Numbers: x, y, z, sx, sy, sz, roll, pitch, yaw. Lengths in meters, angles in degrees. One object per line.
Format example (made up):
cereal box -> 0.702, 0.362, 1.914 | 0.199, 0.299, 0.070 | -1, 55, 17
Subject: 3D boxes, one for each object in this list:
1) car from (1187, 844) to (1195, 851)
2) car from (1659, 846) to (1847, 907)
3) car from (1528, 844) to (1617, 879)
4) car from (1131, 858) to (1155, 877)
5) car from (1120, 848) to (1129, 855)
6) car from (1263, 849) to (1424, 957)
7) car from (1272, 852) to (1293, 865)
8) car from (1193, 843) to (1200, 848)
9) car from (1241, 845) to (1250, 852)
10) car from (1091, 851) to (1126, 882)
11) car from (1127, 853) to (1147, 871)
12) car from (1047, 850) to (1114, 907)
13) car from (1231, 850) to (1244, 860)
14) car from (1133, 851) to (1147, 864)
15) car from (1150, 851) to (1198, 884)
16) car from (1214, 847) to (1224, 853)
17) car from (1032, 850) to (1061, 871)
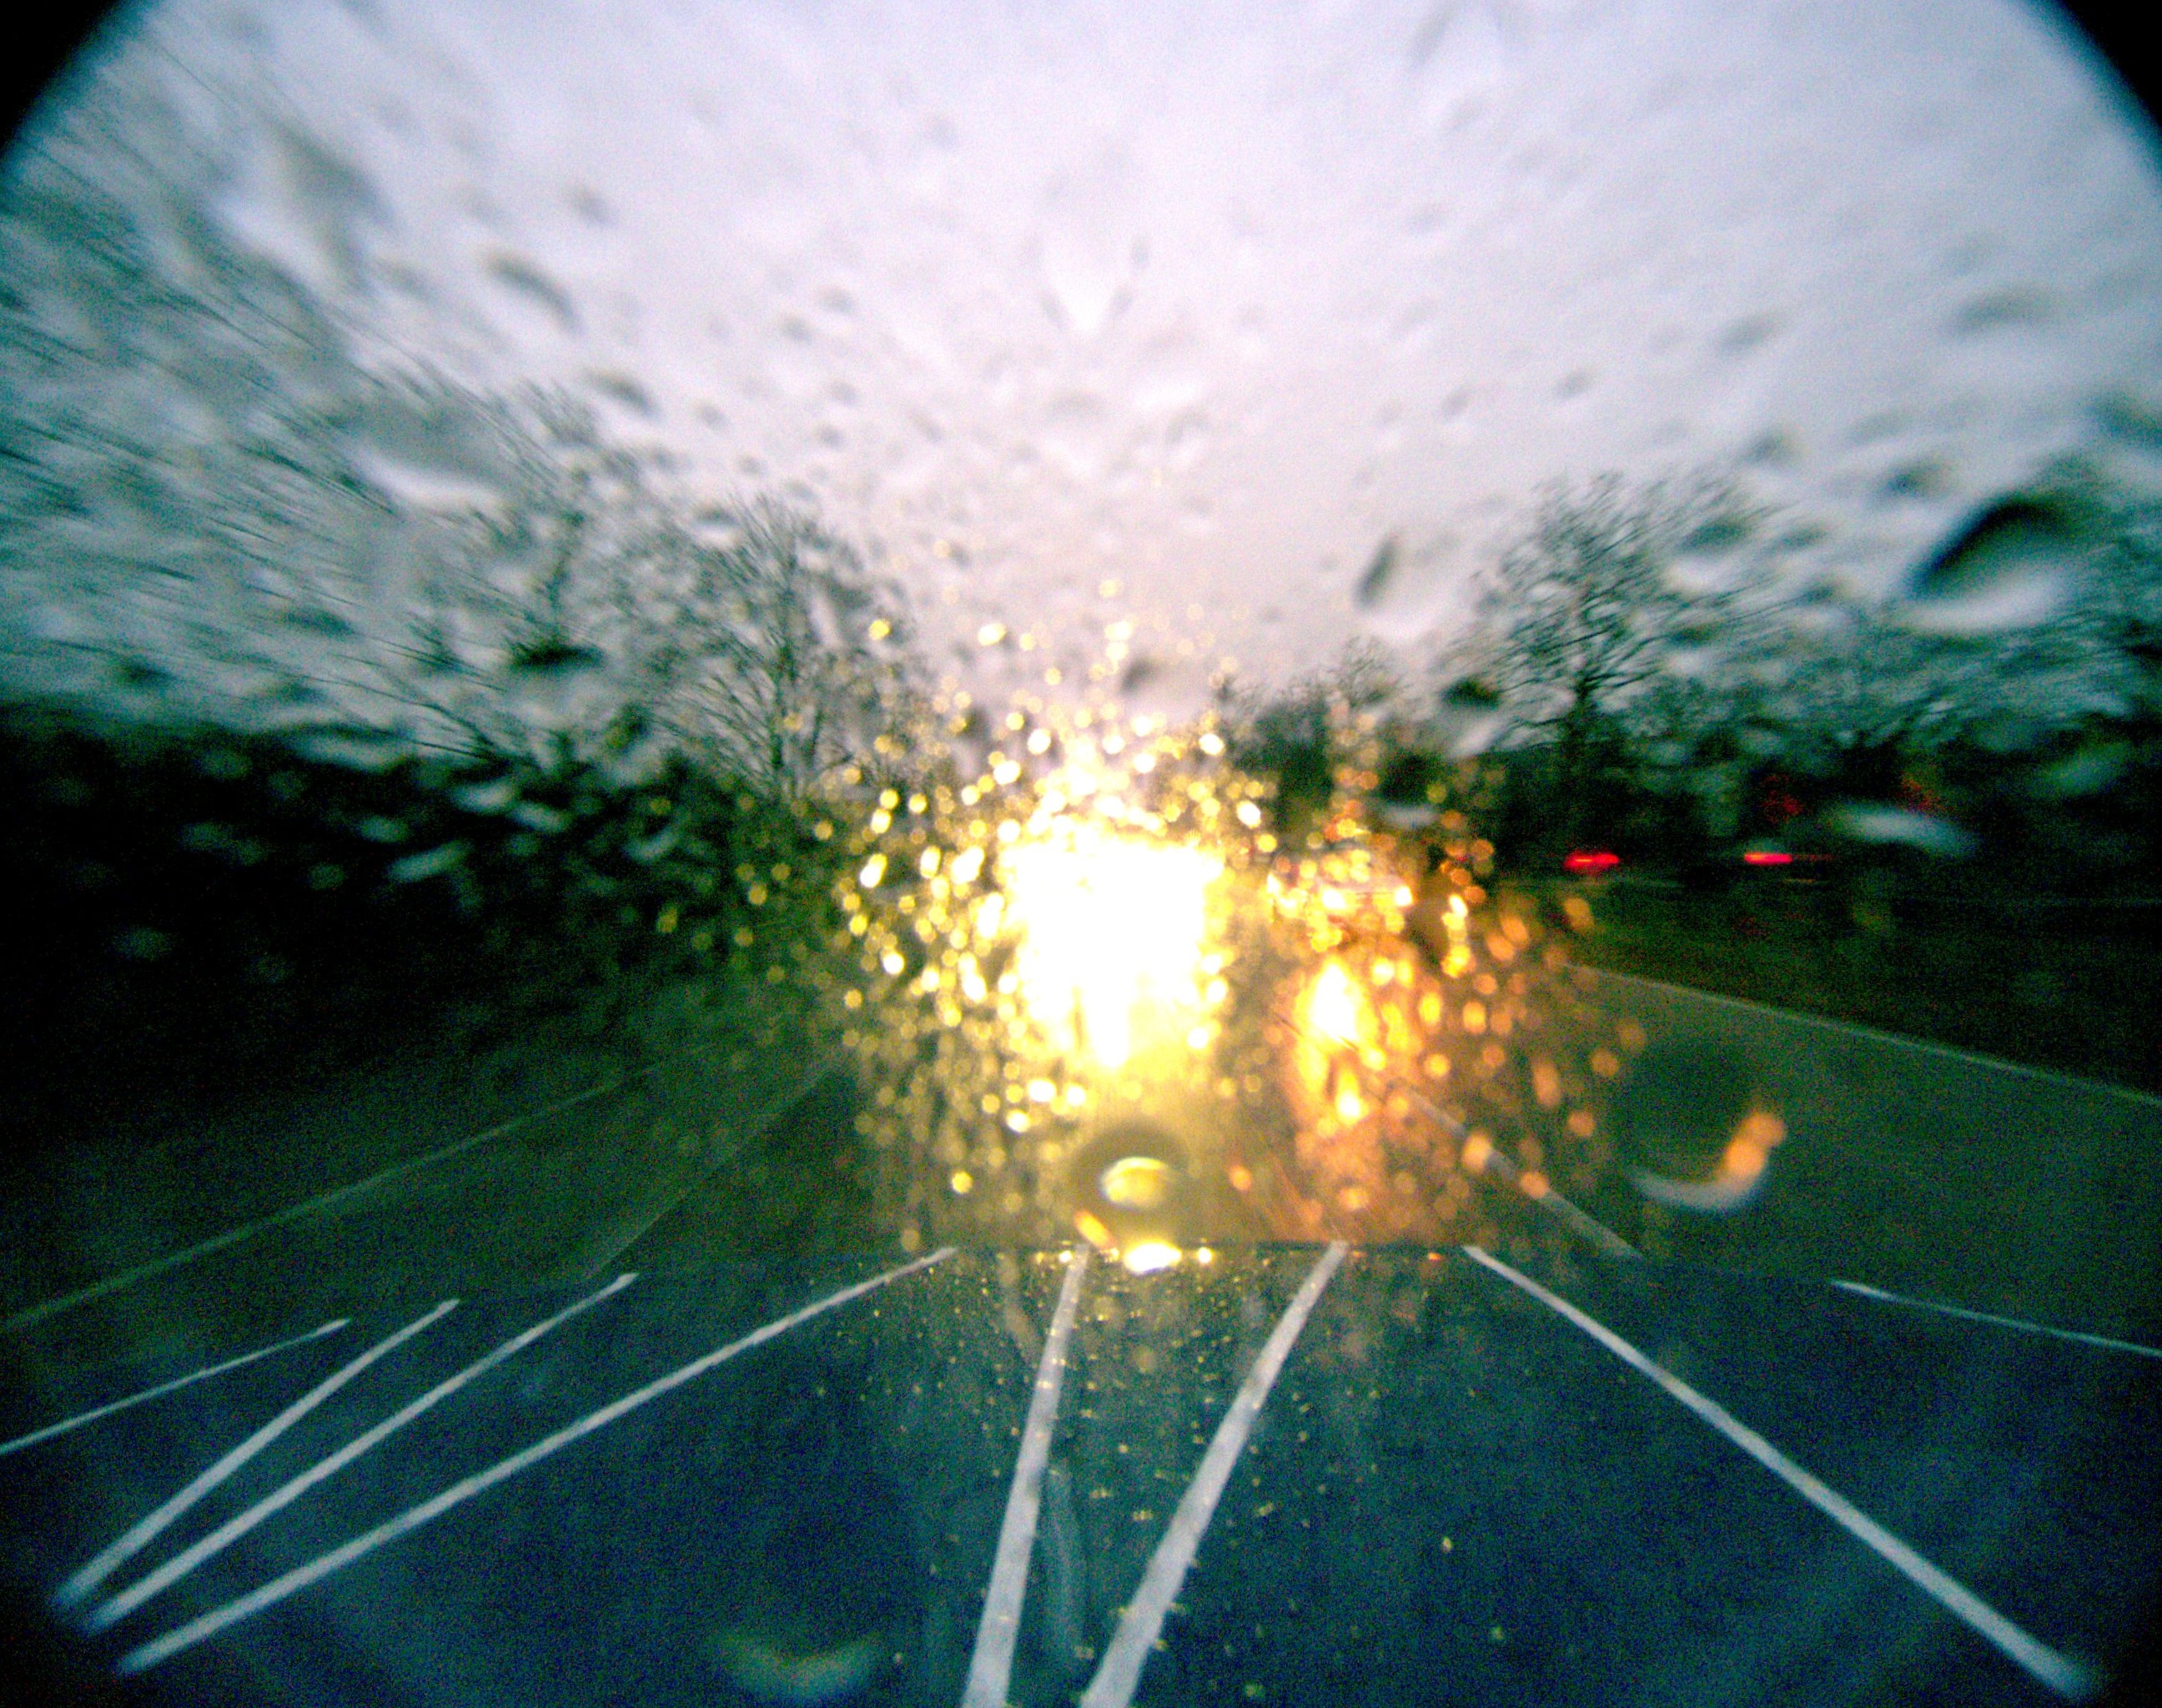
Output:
car -> 28.066, -1.656, 193.843 | 1.573, 1.495, 4.000 | -2, 1, 4
car -> 19.049, 0.564, 21.848 | 1.787, 1.524, 4.378 | -1, 1, 5
car -> 24.086, 0.341, 37.445 | 1.652, 1.557, 4.597 | -1, 1, 4
car -> 4.870, 1.042, 59.869 | 1.696, 1.327, 4.000 | -2, 1, 3
car -> 10.108, -0.572, 176.115 | 1.998, 1.605, 4.000 | -1, 1, 2
car -> 4.524, 0.738, 13.760 | 1.765, 1.590, 4.165 | -1, 1, 5
car -> 24.078, 0.502, 90.862 | 1.752, 1.417, 3.978 | -1, 1, 4
car -> 32.079, -2.318, 210.341 | 1.540, 1.320, 3.956 | -1, 1, 4
car -> 36.920, -1.259, 170.458 | 1.751, 1.387, 4.302 | -1, 1, 9
car -> 1.557, 0.643, 42.062 | 1.727, 1.573, 3.791 | -1, 1, 5
car -> 5.625, 0.822, 76.203 | 1.852, 1.610, 3.951 | -2, 1, 4
car -> 0.068, 0.699, 23.730 | 1.830, 1.524, 4.000 | -1, 1, 4
car -> 26.861, 0.129, 130.572 | 1.621, 1.672, 3.981 | -1, 1, 4
car -> 7.933, 0.507, 102.472 | 1.852, 1.610, 3.951 | -2, 1, 3
car -> 4.751, 0.656, 39.343 | 2.026, 1.522, 4.145 | -1, 1, 2
car -> 29.527, -0.864, 162.649 | 1.652, 1.346, 3.956 | -1, 1, 4
car -> -2.535, 0.488, 56.613 | 1.728, 1.426, 3.791 | -1, 1, 4
